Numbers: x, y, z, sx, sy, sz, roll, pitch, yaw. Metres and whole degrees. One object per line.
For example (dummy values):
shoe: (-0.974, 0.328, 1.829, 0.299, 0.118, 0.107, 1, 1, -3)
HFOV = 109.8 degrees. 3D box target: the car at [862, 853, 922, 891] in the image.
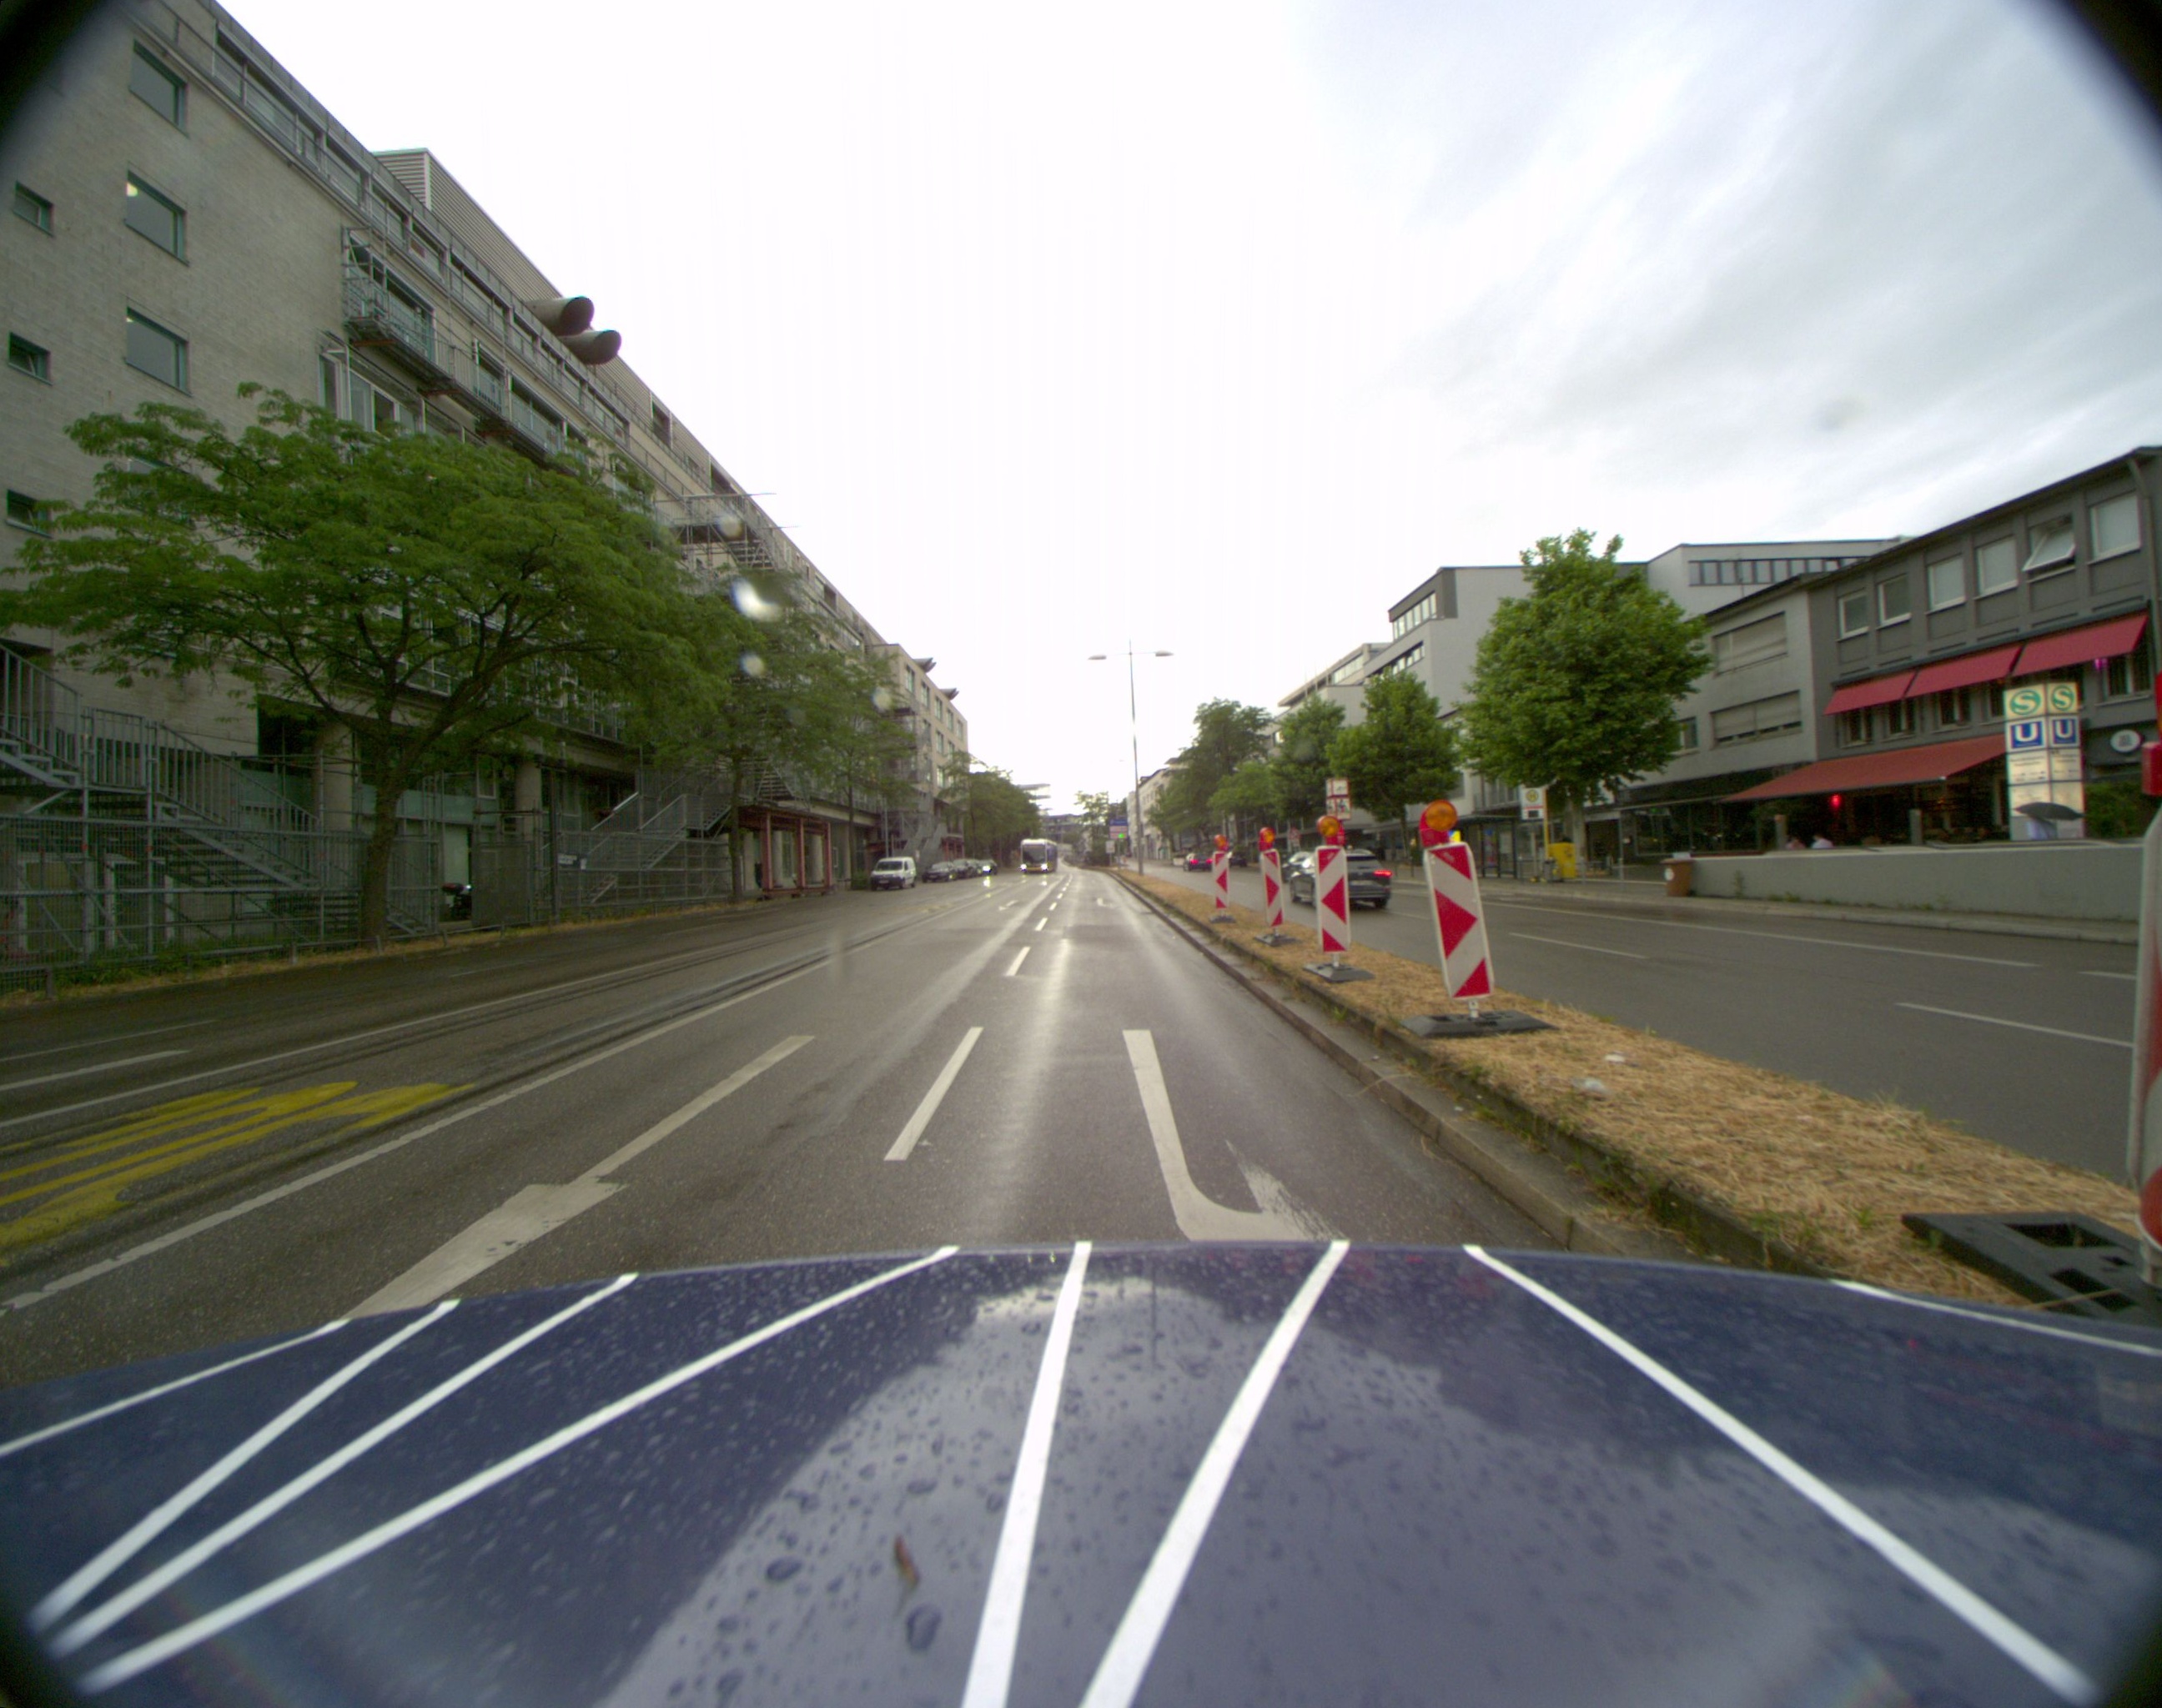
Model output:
car: (-10.528, 0.955, 42.646, 2.213, 1.895, 4.329, -2, 1, 0)

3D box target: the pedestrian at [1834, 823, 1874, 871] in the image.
pedestrian: (24.952, -0.217, 24.533, 0.669, 1.520, 0.611, -2, 1, 4)

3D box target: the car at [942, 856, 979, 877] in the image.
car: (-9.628, 0.979, 61.209, 2.147, 1.486, 4.816, -2, 1, 0)

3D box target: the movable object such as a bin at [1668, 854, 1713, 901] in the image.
movable object such as a bin: (14.562, 0.551, 18.159, 0.507, 1.094, 0.660, -2, 1, -2)

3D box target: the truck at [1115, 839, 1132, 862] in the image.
truck: (7.096, -0.558, 127.106, 1.999, 3.557, 7.572, -2, 0, -2)

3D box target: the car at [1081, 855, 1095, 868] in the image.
car: (1.218, 1.247, 129.887, 1.998, 2.002, 4.001, -2, 1, 6)

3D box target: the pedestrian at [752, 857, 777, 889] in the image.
pedestrian: (-18.113, 1.078, 43.486, 1.010, 1.789, 0.846, -2, 1, -3)

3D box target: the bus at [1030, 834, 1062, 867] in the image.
bus: (-3.871, -0.426, 86.642, 2.890, 3.420, 9.709, -2, 1, 1)

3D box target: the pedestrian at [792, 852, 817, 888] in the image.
pedestrian: (-16.199, 0.922, 44.499, 1.009, 2.002, 1.039, -2, 1, 1)

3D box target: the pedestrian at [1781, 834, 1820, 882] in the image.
pedestrian: (23.342, 0.137, 24.661, 0.669, 1.520, 0.611, -2, 1, 3)

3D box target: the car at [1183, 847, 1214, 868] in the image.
car: (9.559, 0.269, 62.089, 1.692, 1.545, 4.419, -2, 1, -2)

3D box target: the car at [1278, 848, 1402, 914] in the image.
car: (6.632, 0.630, 19.962, 1.692, 1.501, 4.291, -2, 0, -1)

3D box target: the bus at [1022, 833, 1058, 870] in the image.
bus: (-4.016, -0.315, 76.921, 2.890, 3.430, 9.756, -2, 1, 1)

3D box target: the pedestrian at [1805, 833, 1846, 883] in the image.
pedestrian: (23.208, 0.112, 23.700, 0.669, 1.520, 0.611, -2, 1, 3)

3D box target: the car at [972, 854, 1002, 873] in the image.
car: (-8.898, 0.897, 72.415, 2.147, 1.637, 4.816, -2, 1, 0)

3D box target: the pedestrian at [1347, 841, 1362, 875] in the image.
pedestrian: (14.538, 0.203, 40.340, 0.575, 1.815, 0.580, -2, 1, 7)

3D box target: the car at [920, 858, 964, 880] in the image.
car: (-9.896, 1.031, 54.410, 2.147, 1.329, 4.816, -2, 1, 0)

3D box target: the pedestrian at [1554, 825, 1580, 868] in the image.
pedestrian: (23.123, -0.370, 36.149, 0.774, 2.002, 0.767, -2, 1, 8)

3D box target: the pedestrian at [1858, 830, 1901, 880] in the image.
pedestrian: (24.992, 0.034, 23.784, 0.669, 1.520, 0.611, -2, 1, 3)

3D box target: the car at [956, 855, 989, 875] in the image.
car: (-9.468, 0.939, 66.679, 2.147, 1.552, 4.816, -2, 1, 0)

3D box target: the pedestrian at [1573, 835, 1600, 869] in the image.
pedestrian: (23.968, -0.111, 36.010, 0.774, 1.556, 0.767, -2, 1, 8)

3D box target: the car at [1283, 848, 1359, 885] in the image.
car: (10.163, 0.508, 32.471, 1.692, 1.423, 4.212, -2, 0, -3)

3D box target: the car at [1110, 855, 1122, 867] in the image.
car: (6.363, 1.193, 138.521, 1.999, 2.002, 3.999, -2, 1, -2)
